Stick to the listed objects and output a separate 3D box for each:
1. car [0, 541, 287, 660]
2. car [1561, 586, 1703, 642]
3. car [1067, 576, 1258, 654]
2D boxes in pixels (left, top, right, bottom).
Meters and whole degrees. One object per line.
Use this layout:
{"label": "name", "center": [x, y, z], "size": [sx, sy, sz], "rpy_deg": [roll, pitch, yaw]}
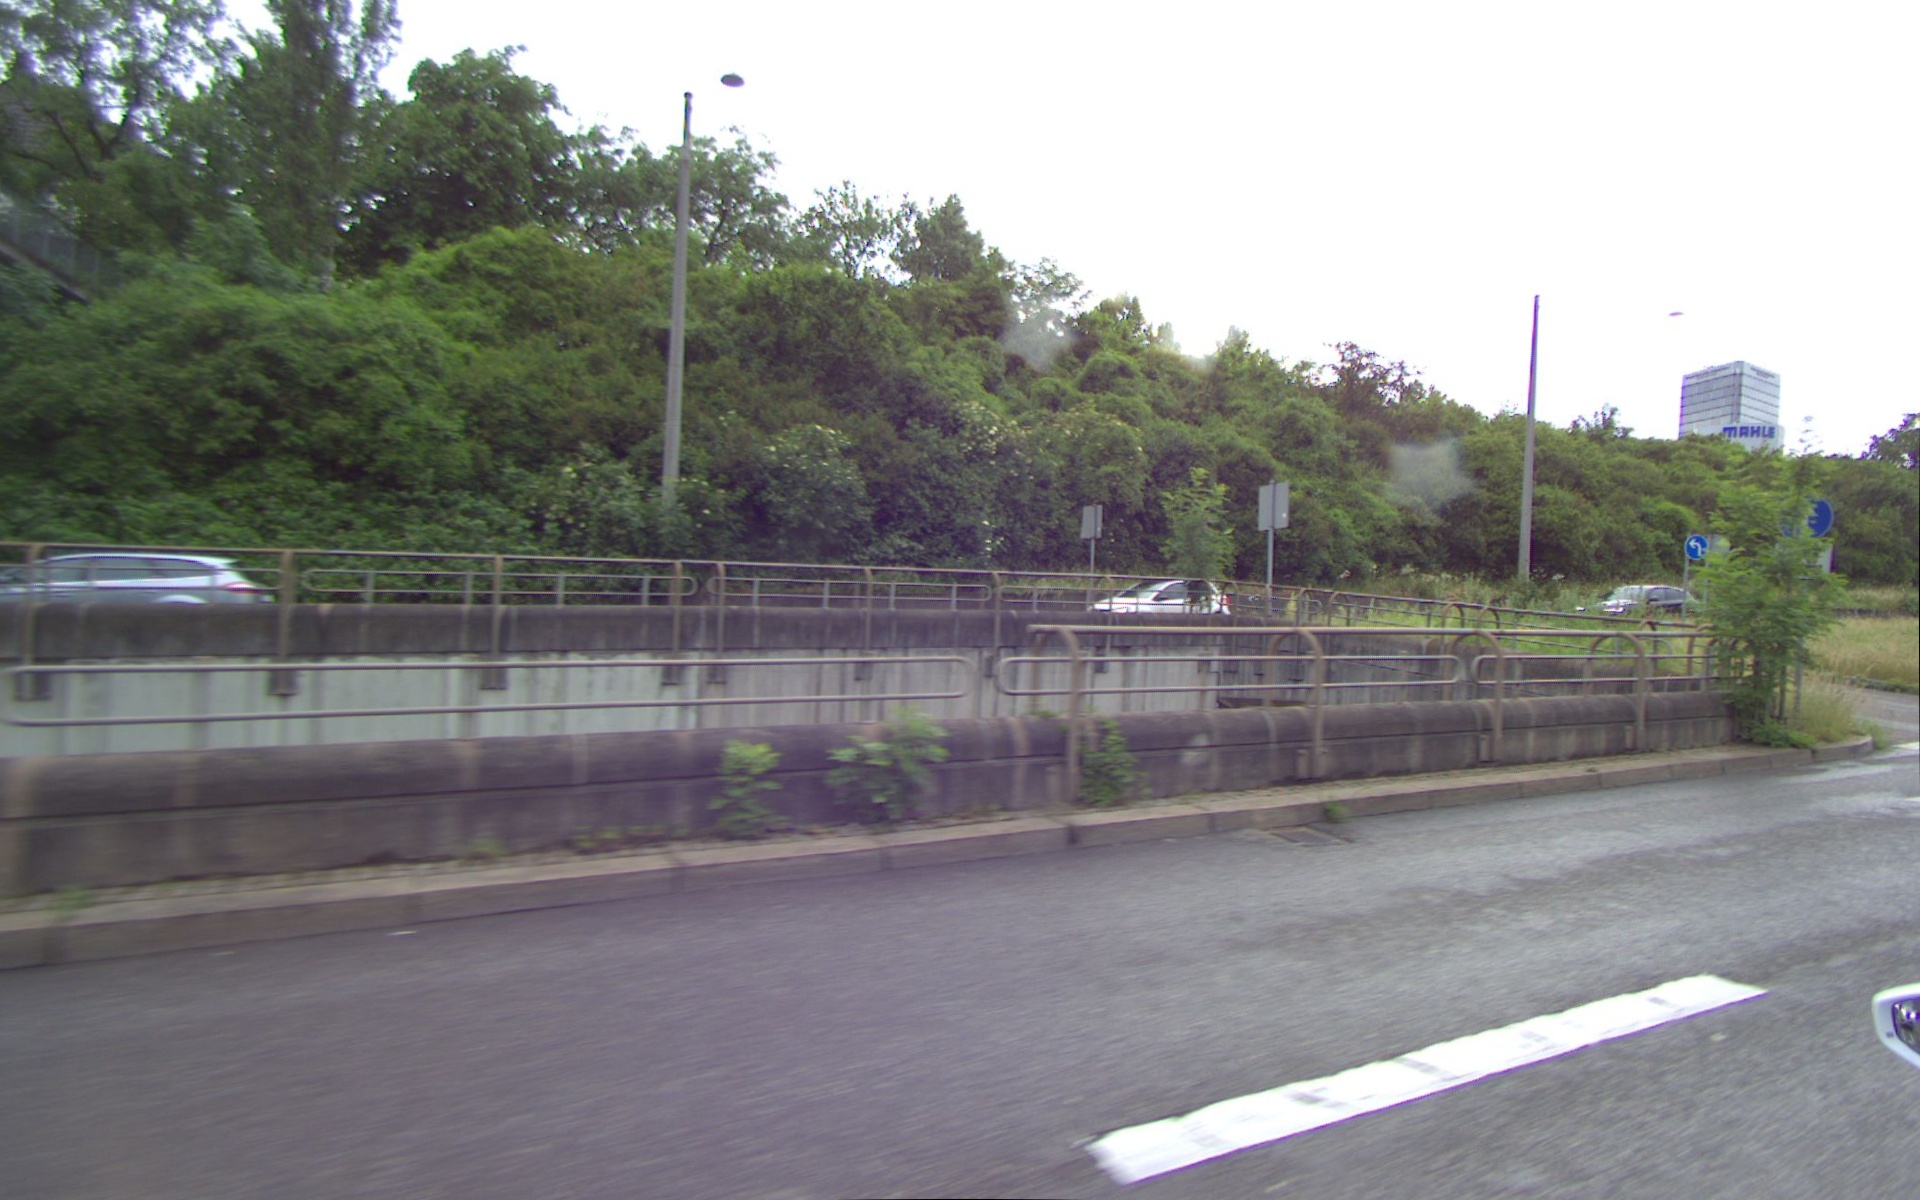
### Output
{"label": "car", "center": [-13.679, 0.050, 15.999], "size": [4.643, 1.744, 1.987], "rpy_deg": [1, -2, -27]}
{"label": "car", "center": [23.064, 0.494, 34.471], "size": [4.663, 1.659, 1.985], "rpy_deg": [2, 3, -28]}
{"label": "car", "center": [5.234, 0.397, 25.862], "size": [4.573, 1.859, 1.985], "rpy_deg": [2, 1, -28]}
